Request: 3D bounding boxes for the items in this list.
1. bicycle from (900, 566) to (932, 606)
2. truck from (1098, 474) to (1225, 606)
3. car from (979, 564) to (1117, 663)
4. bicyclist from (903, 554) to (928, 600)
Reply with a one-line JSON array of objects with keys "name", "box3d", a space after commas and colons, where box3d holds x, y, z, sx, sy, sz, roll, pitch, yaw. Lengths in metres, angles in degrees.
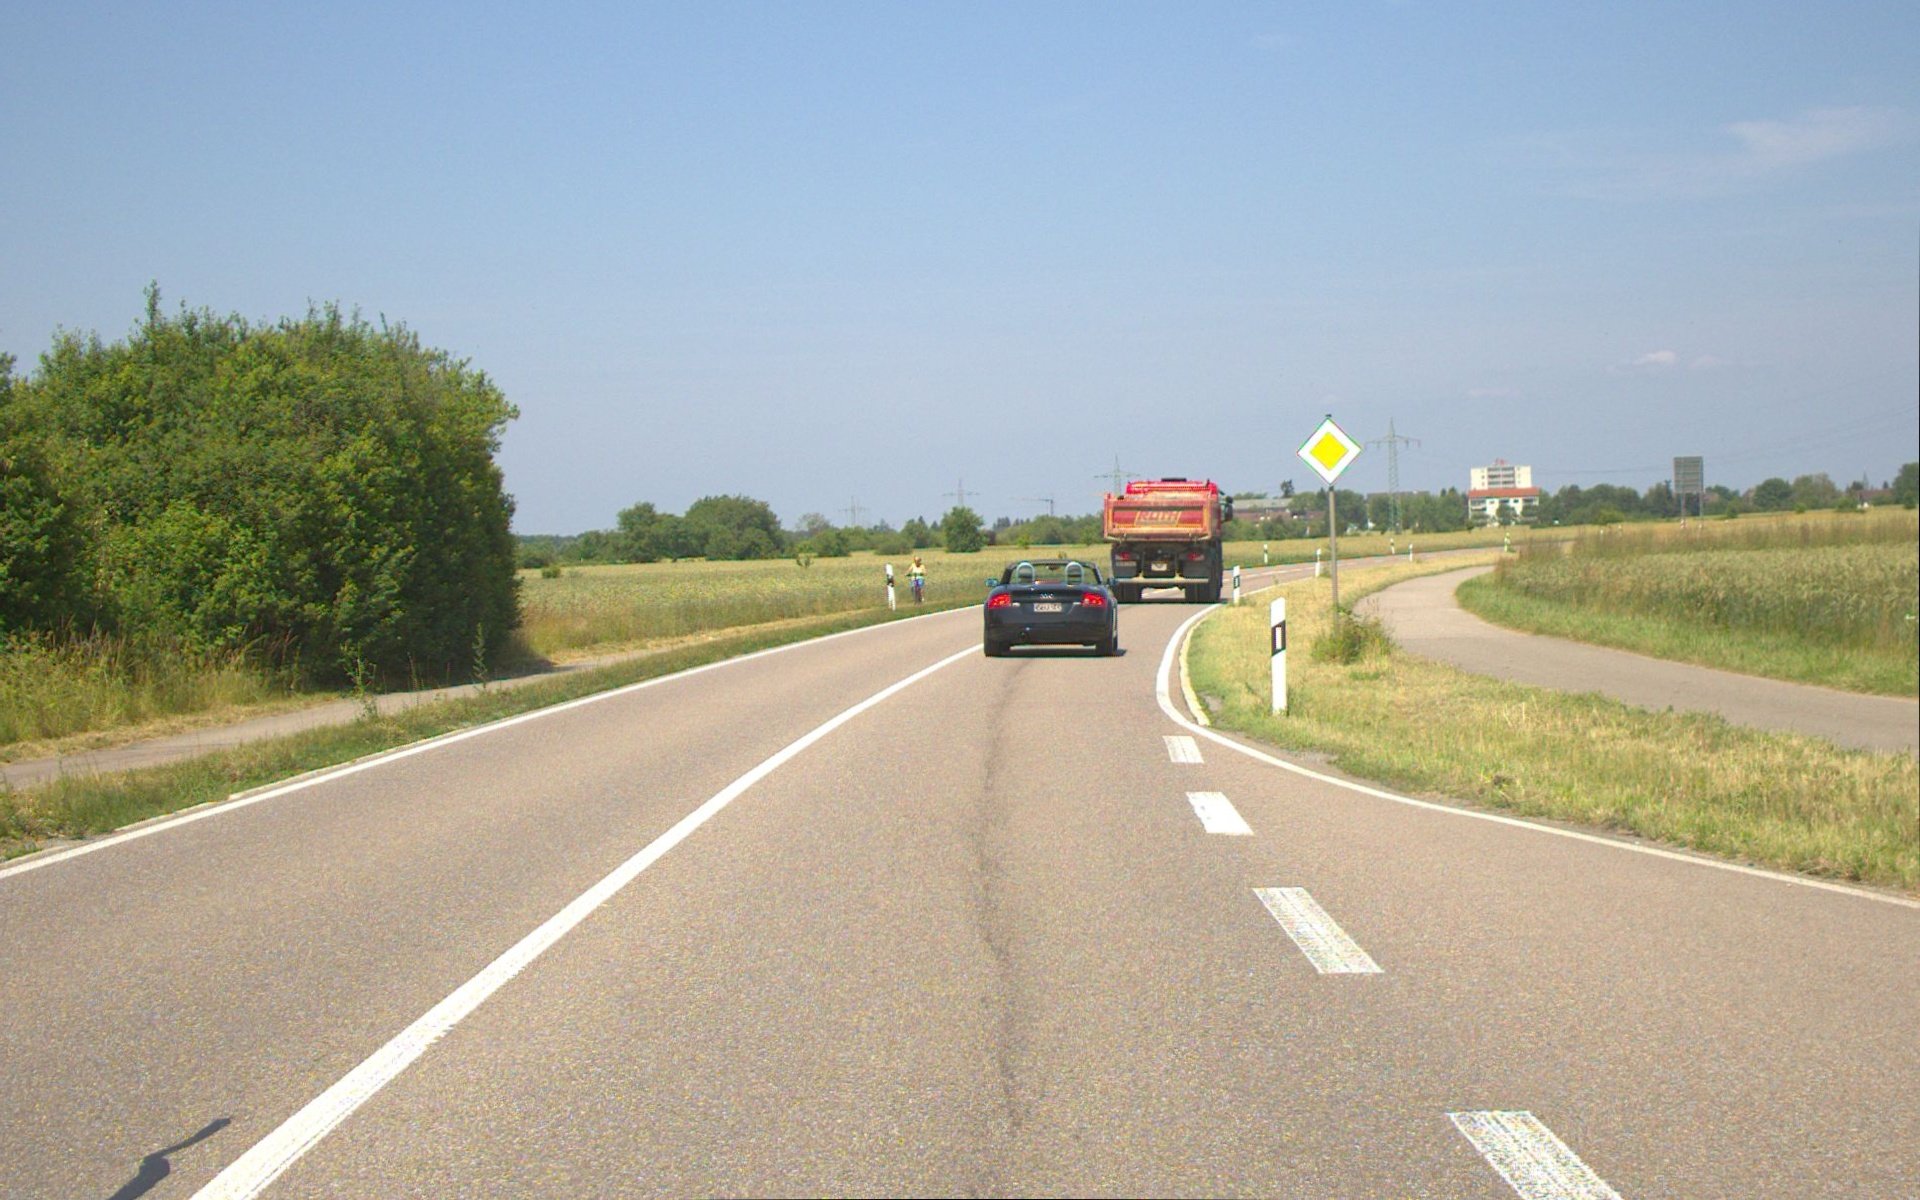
[{"name": "bicycle", "box3d": [-1.371, -0.443, 107.117, 0.694, 1.172, 1.963, -2, 1, 7]}, {"name": "truck", "box3d": [5.029, -1.459, 84.777, 2.938, 3.078, 7.195, -1, 1, 4]}, {"name": "car", "box3d": [1.241, 0.153, 47.151, 1.744, 1.275, 4.000, 0, 1, 4]}, {"name": "bicyclist", "box3d": [-1.392, -0.718, 107.026, 0.664, 1.433, 0.822, -1, 1, 7]}]
